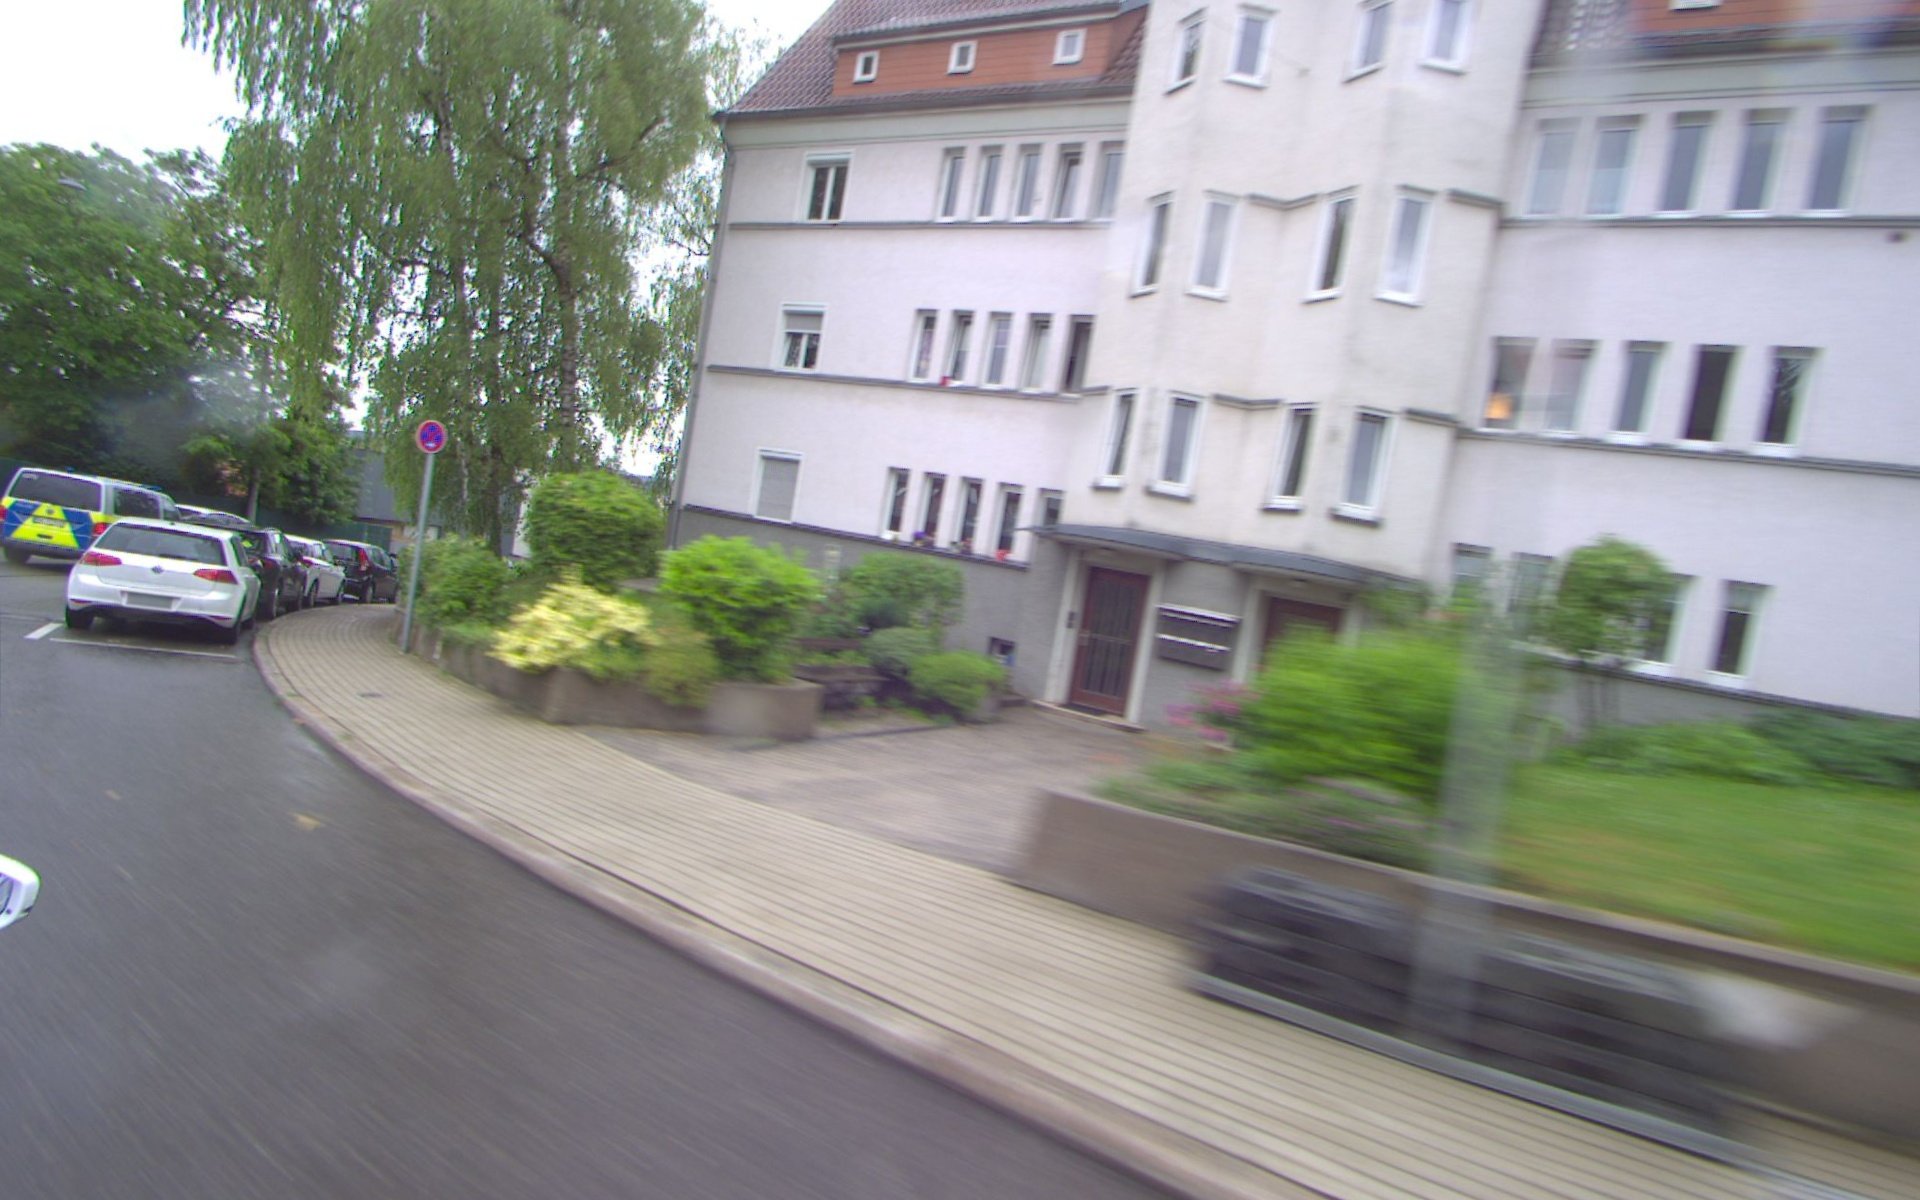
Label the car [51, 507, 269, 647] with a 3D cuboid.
[{"bbox_3d":[-10.787,-0.337,13.864,1.778,1.463,4.071,8,-2,-32],"label":"car"}]

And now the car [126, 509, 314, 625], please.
[{"bbox_3d":[-12.492,-0.590,17.270,1.609,1.537,4.300,8,0,-25],"label":"car"}]

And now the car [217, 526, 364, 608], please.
[{"bbox_3d":[-15.080,-0.711,22.899,1.707,1.481,4.014,8,-1,-20],"label":"car"}]

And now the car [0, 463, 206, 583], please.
[{"bbox_3d":[-18.591,-1.542,21.821,1.974,1.913,4.554,11,-3,-18],"label":"car"}]

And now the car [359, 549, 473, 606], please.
[{"bbox_3d":[-17.288,-0.665,32.191,1.691,1.452,4.065,7,-1,-7],"label":"car"}]

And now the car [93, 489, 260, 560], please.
[{"bbox_3d":[-24.037,-2.260,31.097,1.799,1.627,4.283,7,0,-3],"label":"car"}]

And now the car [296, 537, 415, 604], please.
[{"bbox_3d":[-16.483,-0.752,27.615,1.599,1.523,3.597,7,-1,-13],"label":"car"}]
